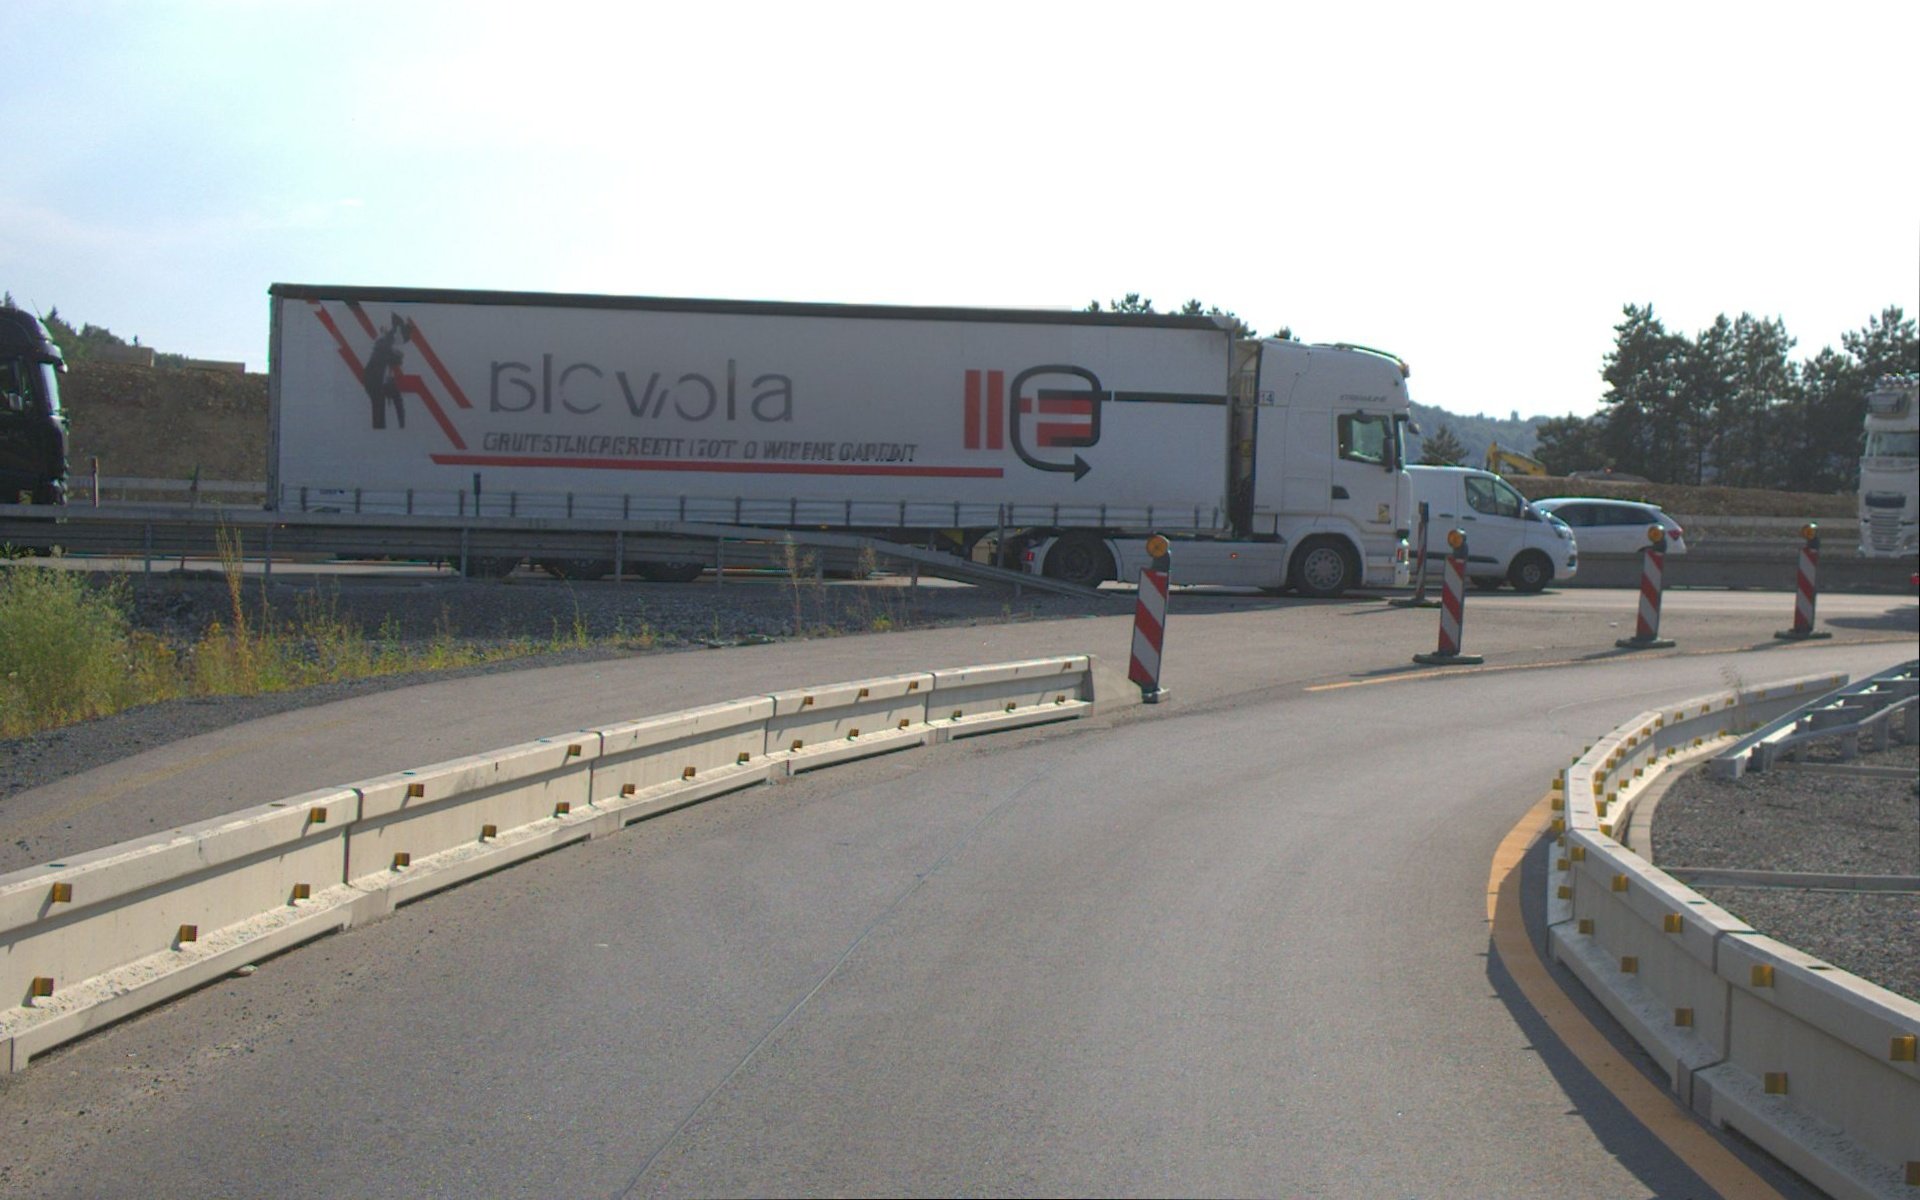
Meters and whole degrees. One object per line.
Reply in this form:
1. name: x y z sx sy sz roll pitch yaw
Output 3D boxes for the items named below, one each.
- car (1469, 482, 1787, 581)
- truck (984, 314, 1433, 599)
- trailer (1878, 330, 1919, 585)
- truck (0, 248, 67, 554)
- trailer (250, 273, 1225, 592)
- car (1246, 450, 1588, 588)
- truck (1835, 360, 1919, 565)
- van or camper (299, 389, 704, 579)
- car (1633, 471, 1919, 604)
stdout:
1. car: 11.614 -1.205 59.905 4.961 1.495 2.036 1 4 -12
2. truck: 3.641 -2.095 50.840 5.990 3.865 2.489 2 2 -13
3. trailer: 22.673 -1.975 55.087 15.689 3.982 2.868 2 2 -13
4. truck: -15.250 -2.782 46.461 5.990 4.046 2.489 2 2 -14
5. trailer: -3.146 -2.323 49.232 13.582 3.865 2.489 2 2 -13
6. car: 7.296 -1.308 55.121 4.961 1.974 2.036 1 4 -12
7. truck: 19.949 -2.476 65.114 5.667 3.714 3.007 2 0 -12
8. van or camper: -6.997 -1.765 52.262 5.882 2.611 2.001 2 2 -12
9. car: 13.788 -1.022 56.274 4.961 1.974 2.036 1 4 -12
